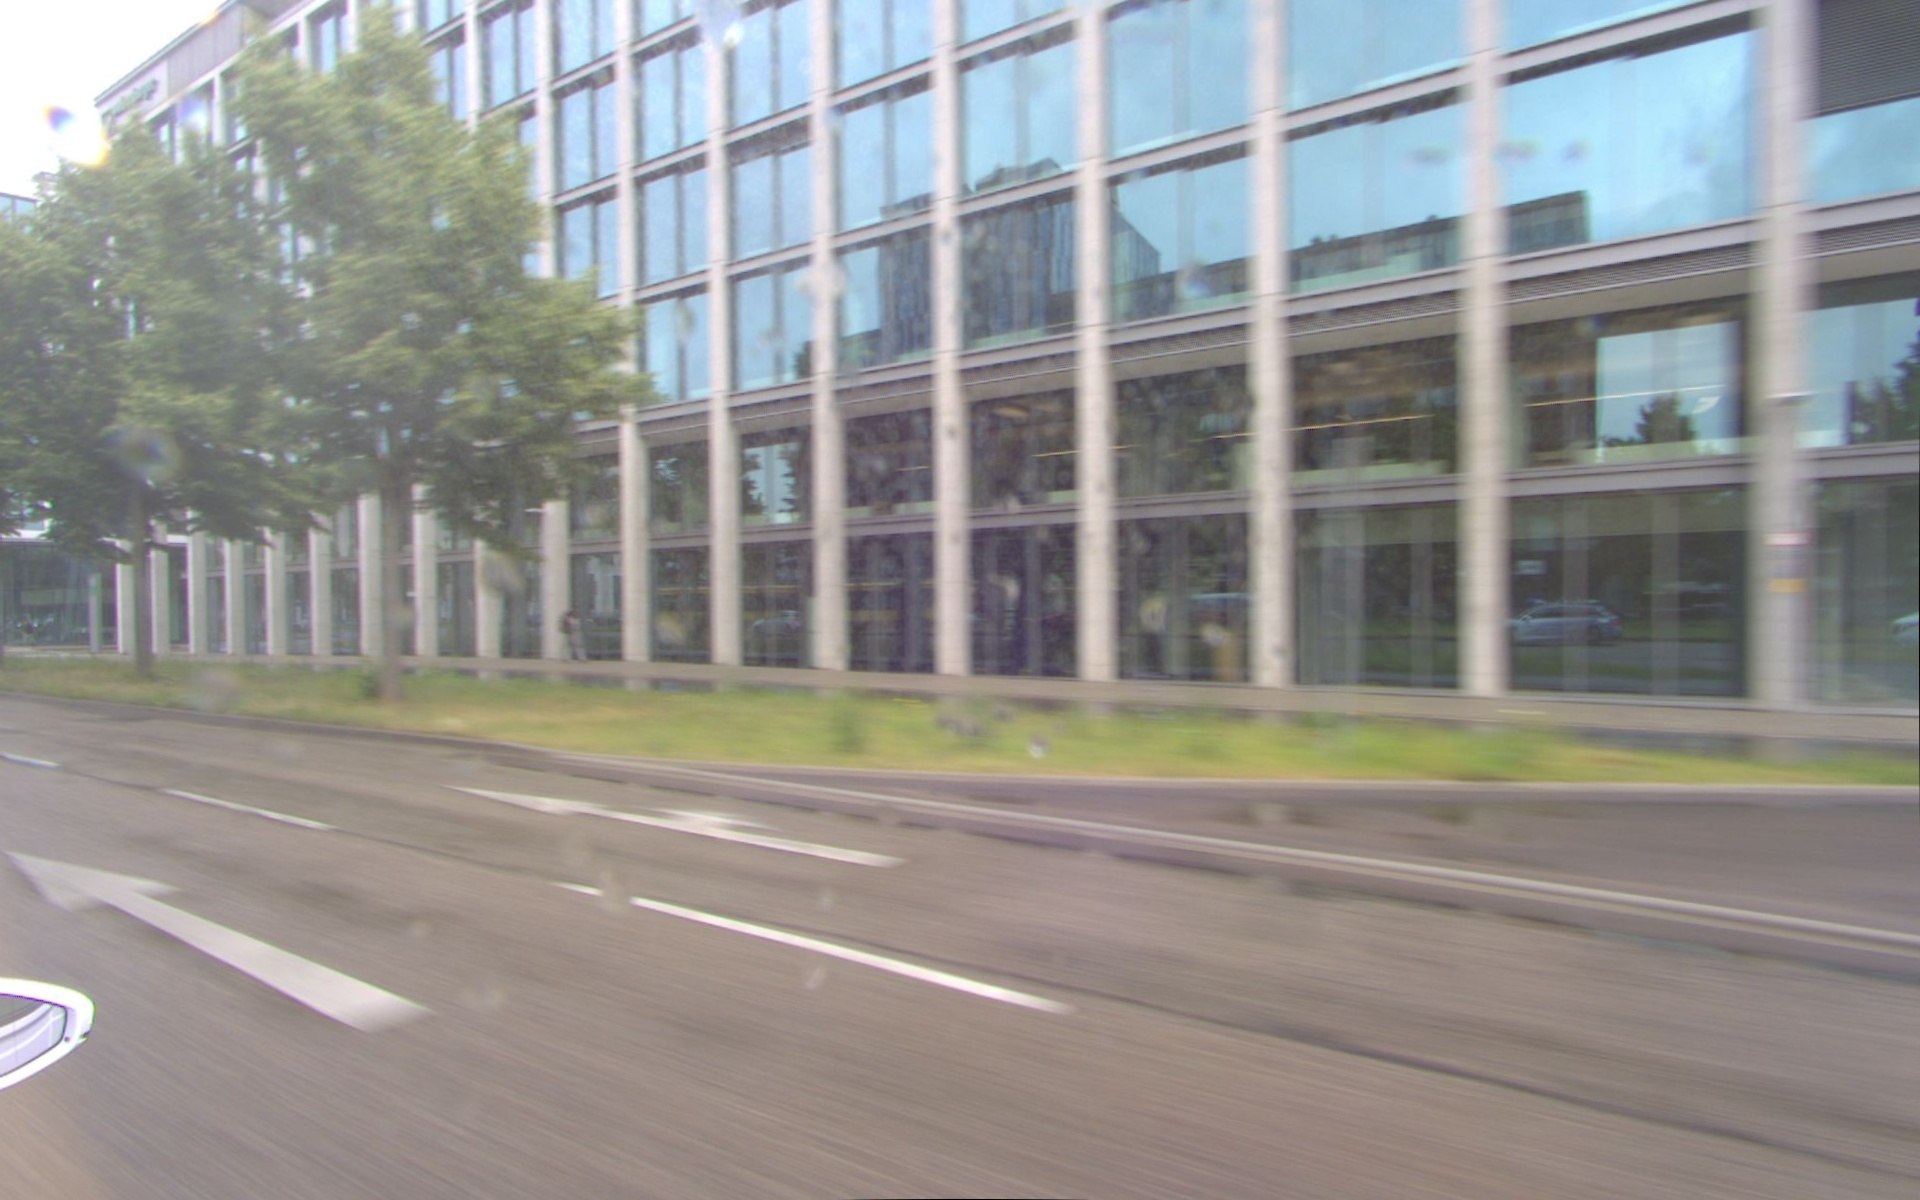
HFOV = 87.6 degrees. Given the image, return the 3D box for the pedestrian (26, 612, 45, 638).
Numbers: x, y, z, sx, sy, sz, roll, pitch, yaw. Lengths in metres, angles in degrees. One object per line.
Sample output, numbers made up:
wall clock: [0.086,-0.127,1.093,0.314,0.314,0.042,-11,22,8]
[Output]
pedestrian: [-59.773,1.613,64.771,0.773,1.730,0.675,0,0,-32]

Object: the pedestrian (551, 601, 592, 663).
pedestrian: [-11.317,0.917,29.163,0.849,1.738,0.715,0,2,32]
